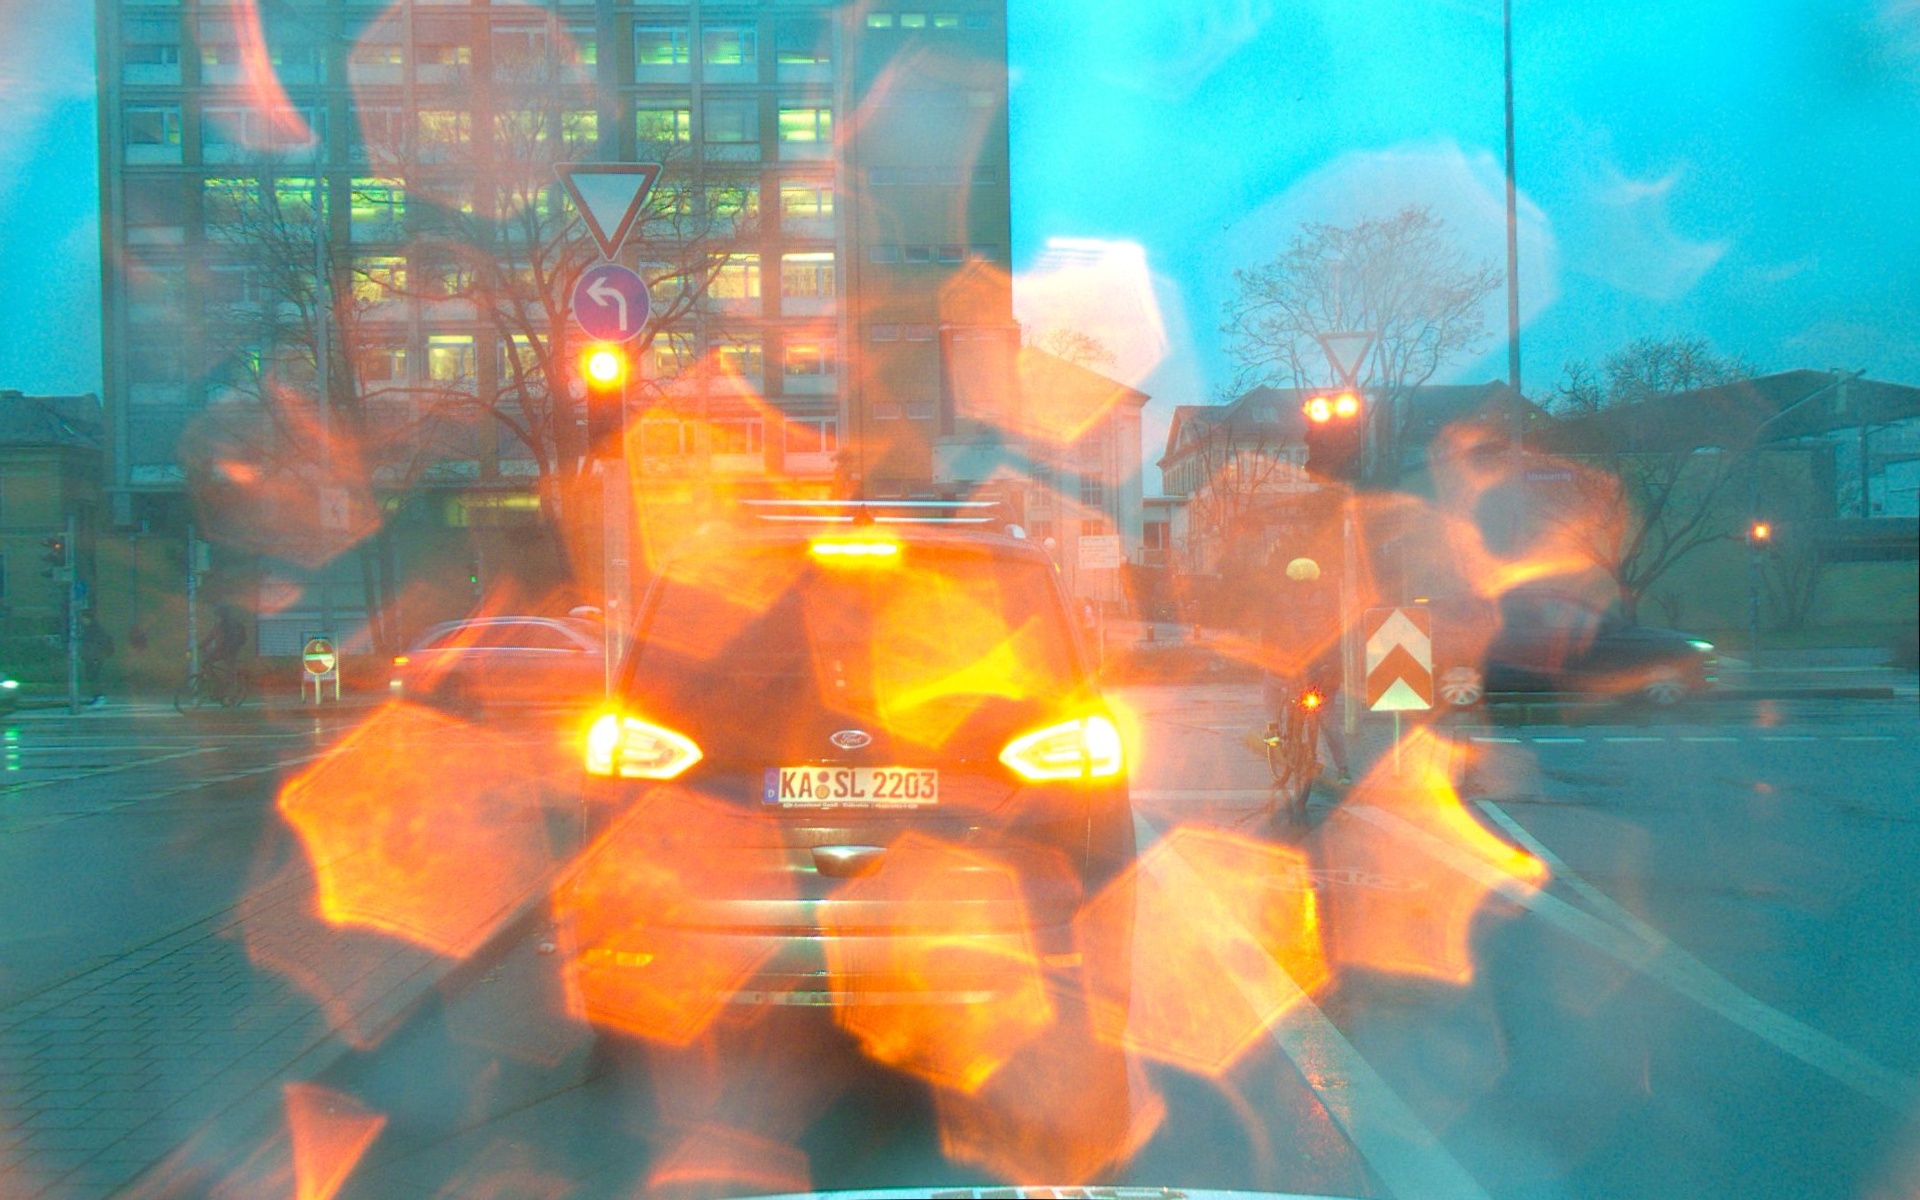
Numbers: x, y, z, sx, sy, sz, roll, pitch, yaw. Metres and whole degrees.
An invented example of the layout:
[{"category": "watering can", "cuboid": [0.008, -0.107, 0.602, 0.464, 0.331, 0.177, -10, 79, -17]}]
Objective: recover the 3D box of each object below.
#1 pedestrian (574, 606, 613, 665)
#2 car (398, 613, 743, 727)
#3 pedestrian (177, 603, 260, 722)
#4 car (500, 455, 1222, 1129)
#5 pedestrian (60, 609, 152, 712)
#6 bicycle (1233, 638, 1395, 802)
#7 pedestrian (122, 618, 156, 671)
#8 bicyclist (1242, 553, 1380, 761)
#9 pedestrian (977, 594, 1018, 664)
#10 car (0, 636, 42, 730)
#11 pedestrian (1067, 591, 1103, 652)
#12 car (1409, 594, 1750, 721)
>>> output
[{"category": "pedestrian", "cuboid": [-10.400, 1.004, 46.961, 0.744, 1.656, 0.722, -2, 0, 19]}, {"category": "car", "cuboid": [-5.660, 1.005, 24.221, 4.556, 1.503, 1.813, -2, -1, 11]}, {"category": "pedestrian", "cuboid": [-13.005, 1.081, 29.046, 0.908, 2.013, 0.960, -2, 0, 5]}, {"category": "car", "cuboid": [-0.295, 0.538, 6.542, 1.953, 1.821, 3.999, 1, 0, -1]}, {"category": "pedestrian", "cuboid": [-16.514, 1.152, 31.992, 0.982, 1.874, 1.138, -1, 3, 27]}, {"category": "bicycle", "cuboid": [2.628, 0.858, 12.508, 0.767, 1.094, 1.956, 1, 0, -1]}, {"category": "pedestrian", "cuboid": [-26.089, 1.407, 52.557, 0.743, 1.656, 0.558, -2, 0, 14]}, {"category": "bicyclist", "cuboid": [2.622, 0.412, 12.464, 0.767, 1.478, 1.133, 1, 0, -1]}, {"category": "pedestrian", "cuboid": [1.029, 0.784, 45.178, 0.975, 1.831, 0.920, -2, 0, 8]}, {"category": "car", "cuboid": [-17.769, 1.424, 27.285, 4.557, 1.503, 1.812, -2, -1, 14]}, {"category": "pedestrian", "cuboid": [3.303, 0.567, 43.770, 0.905, 1.559, 1.043, -2, 0, 4]}, {"category": "car", "cuboid": [8.054, 0.743, 21.833, 3.871, 1.503, 1.812, -2, -1, 7]}]
